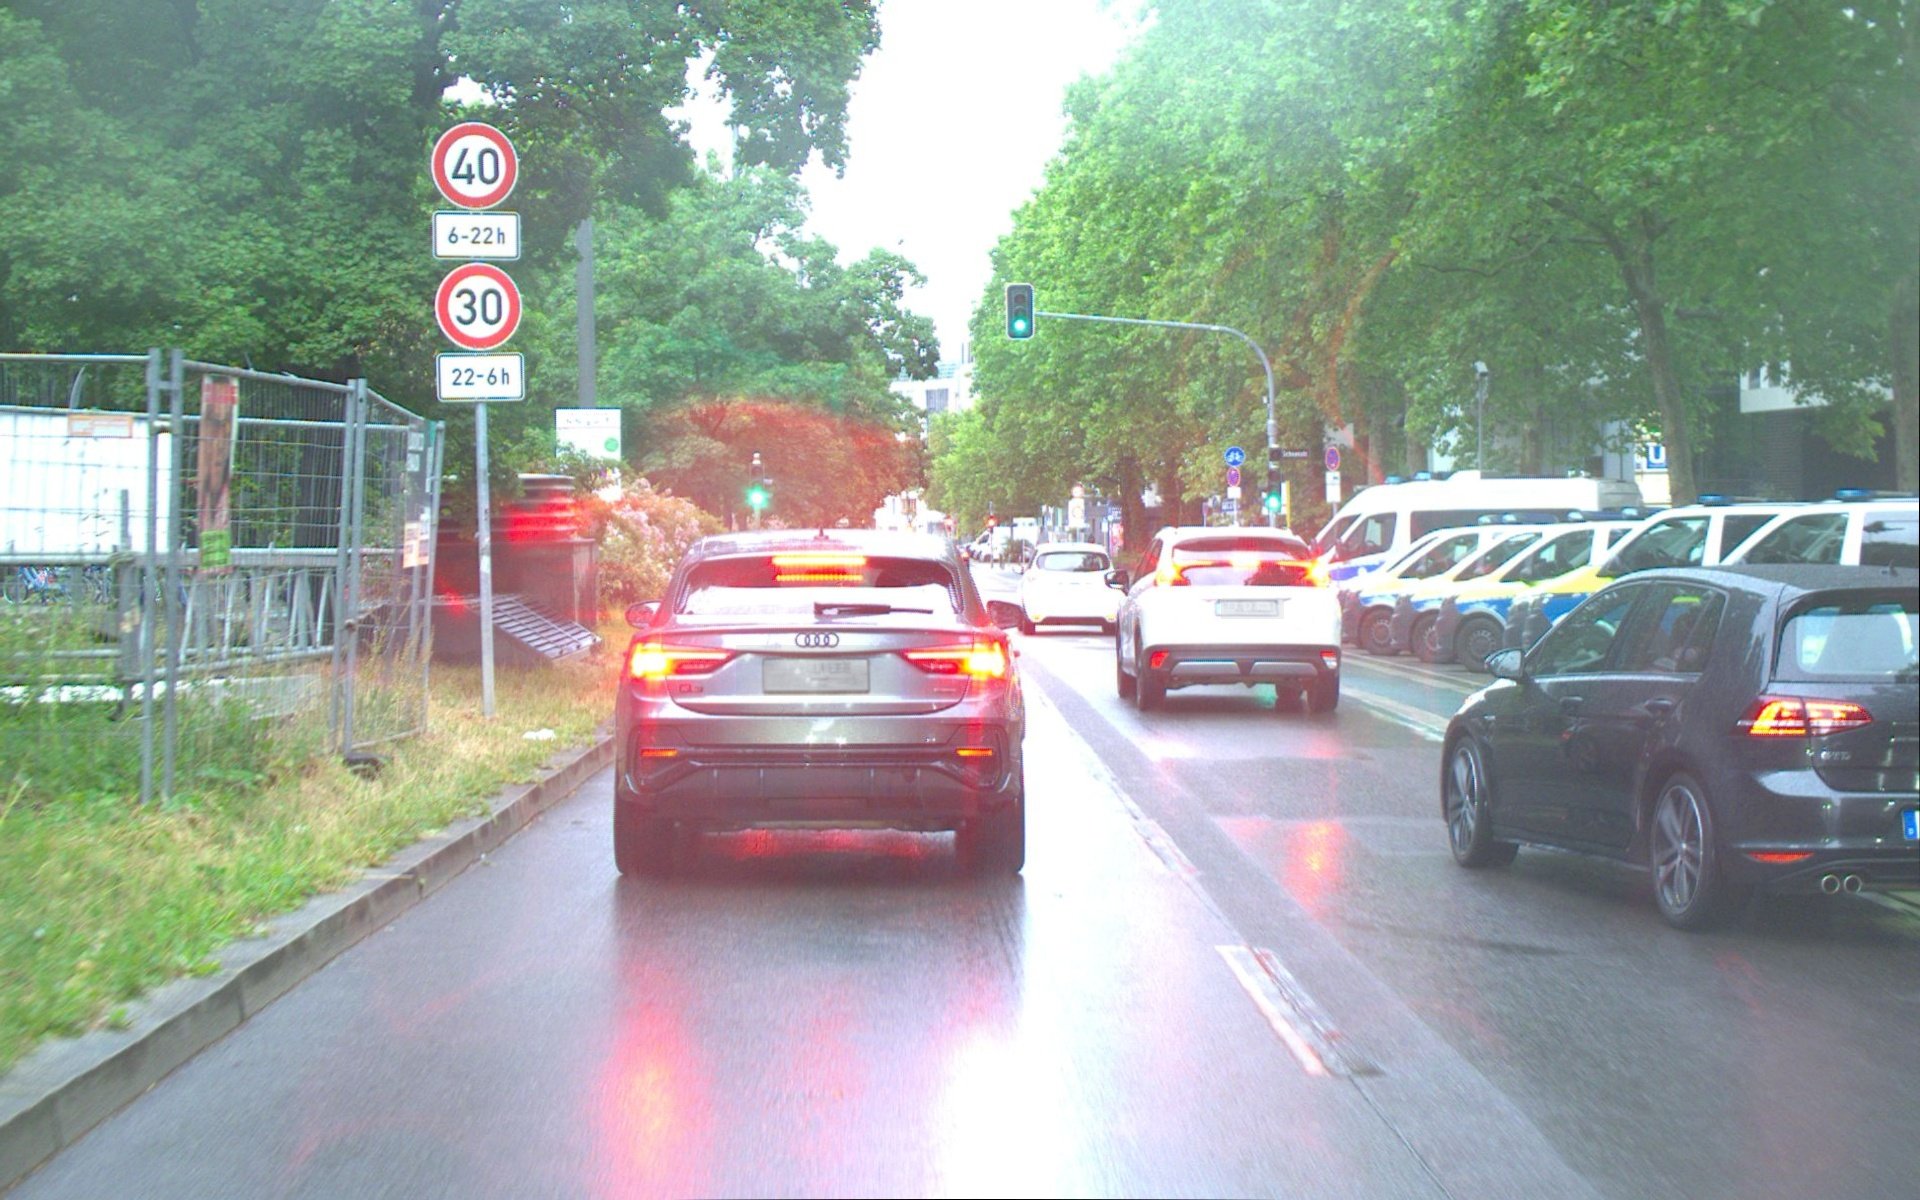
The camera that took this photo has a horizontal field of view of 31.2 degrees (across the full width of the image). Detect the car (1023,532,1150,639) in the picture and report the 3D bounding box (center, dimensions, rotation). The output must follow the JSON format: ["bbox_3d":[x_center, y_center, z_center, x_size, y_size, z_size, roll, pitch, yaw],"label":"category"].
[{"bbox_3d":[2.139,-0.275,59.196,1.993,1.744,4.000,-1,1,0],"label":"car"}]

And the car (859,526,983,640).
[{"bbox_3d":[-0.572,-0.279,49.829,1.721,1.572,3.962,0,1,-1],"label":"car"}]

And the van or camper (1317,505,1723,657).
[{"bbox_3d":[7.757,-0.285,47.856,5.202,1.985,1.996,1,1,34],"label":"van or camper"}]

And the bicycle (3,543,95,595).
[{"bbox_3d":[-19.547,-0.672,73.813,1.844,1.094,0.615,-1,1,-8],"label":"bicycle"}]

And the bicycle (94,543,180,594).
[{"bbox_3d":[-18.977,-0.737,79.290,1.844,1.133,0.566,-1,1,-7],"label":"bicycle"}]

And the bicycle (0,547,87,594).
[{"bbox_3d":[-19.531,-0.628,72.963,1.844,0.975,0.566,0,1,-3],"label":"bicycle"}]

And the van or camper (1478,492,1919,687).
[{"bbox_3d":[8.331,-0.138,37.169,5.017,1.988,1.996,0,1,32],"label":"van or camper"}]

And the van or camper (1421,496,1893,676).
[{"bbox_3d":[8.242,-0.203,40.880,5.102,2.018,2.101,1,2,37],"label":"van or camper"}]

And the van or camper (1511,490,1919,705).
[{"bbox_3d":[8.060,-0.054,33.914,4.789,2.004,1.996,1,1,36],"label":"van or camper"}]

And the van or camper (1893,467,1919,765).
[{"bbox_3d":[8.981,0.165,22.614,5.082,2.012,1.993,2,2,36],"label":"van or camper"}]

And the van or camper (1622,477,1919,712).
[{"bbox_3d":[8.422,-0.063,30.013,4.849,1.991,1.864,1,1,36],"label":"van or camper"}]

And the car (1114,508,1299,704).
[{"bbox_3d":[2.214,0.017,31.382,1.433,1.679,2.979,-1,1,0],"label":"car"}]

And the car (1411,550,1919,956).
[{"bbox_3d":[3.369,0.522,14.501,1.764,1.408,4.001,-1,1,-10],"label":"car"}]

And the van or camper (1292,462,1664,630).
[{"bbox_3d":[8.571,-0.915,57.198,5.809,2.668,2.143,1,1,37],"label":"van or camper"}]

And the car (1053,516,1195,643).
[{"bbox_3d":[2.344,-0.335,49.899,1.822,1.744,4.000,-1,1,0],"label":"car"}]

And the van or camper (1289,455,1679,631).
[{"bbox_3d":[8.249,-0.897,54.395,5.804,2.671,1.996,0,1,35],"label":"van or camper"}]

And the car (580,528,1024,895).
[{"bbox_3d":[-0.642,0.423,16.727,1.863,1.527,4.527,0,1,1],"label":"car"}]

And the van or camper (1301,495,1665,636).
[{"bbox_3d":[7.789,-0.496,51.411,5.010,2.007,1.996,0,0,35],"label":"van or camper"}]
